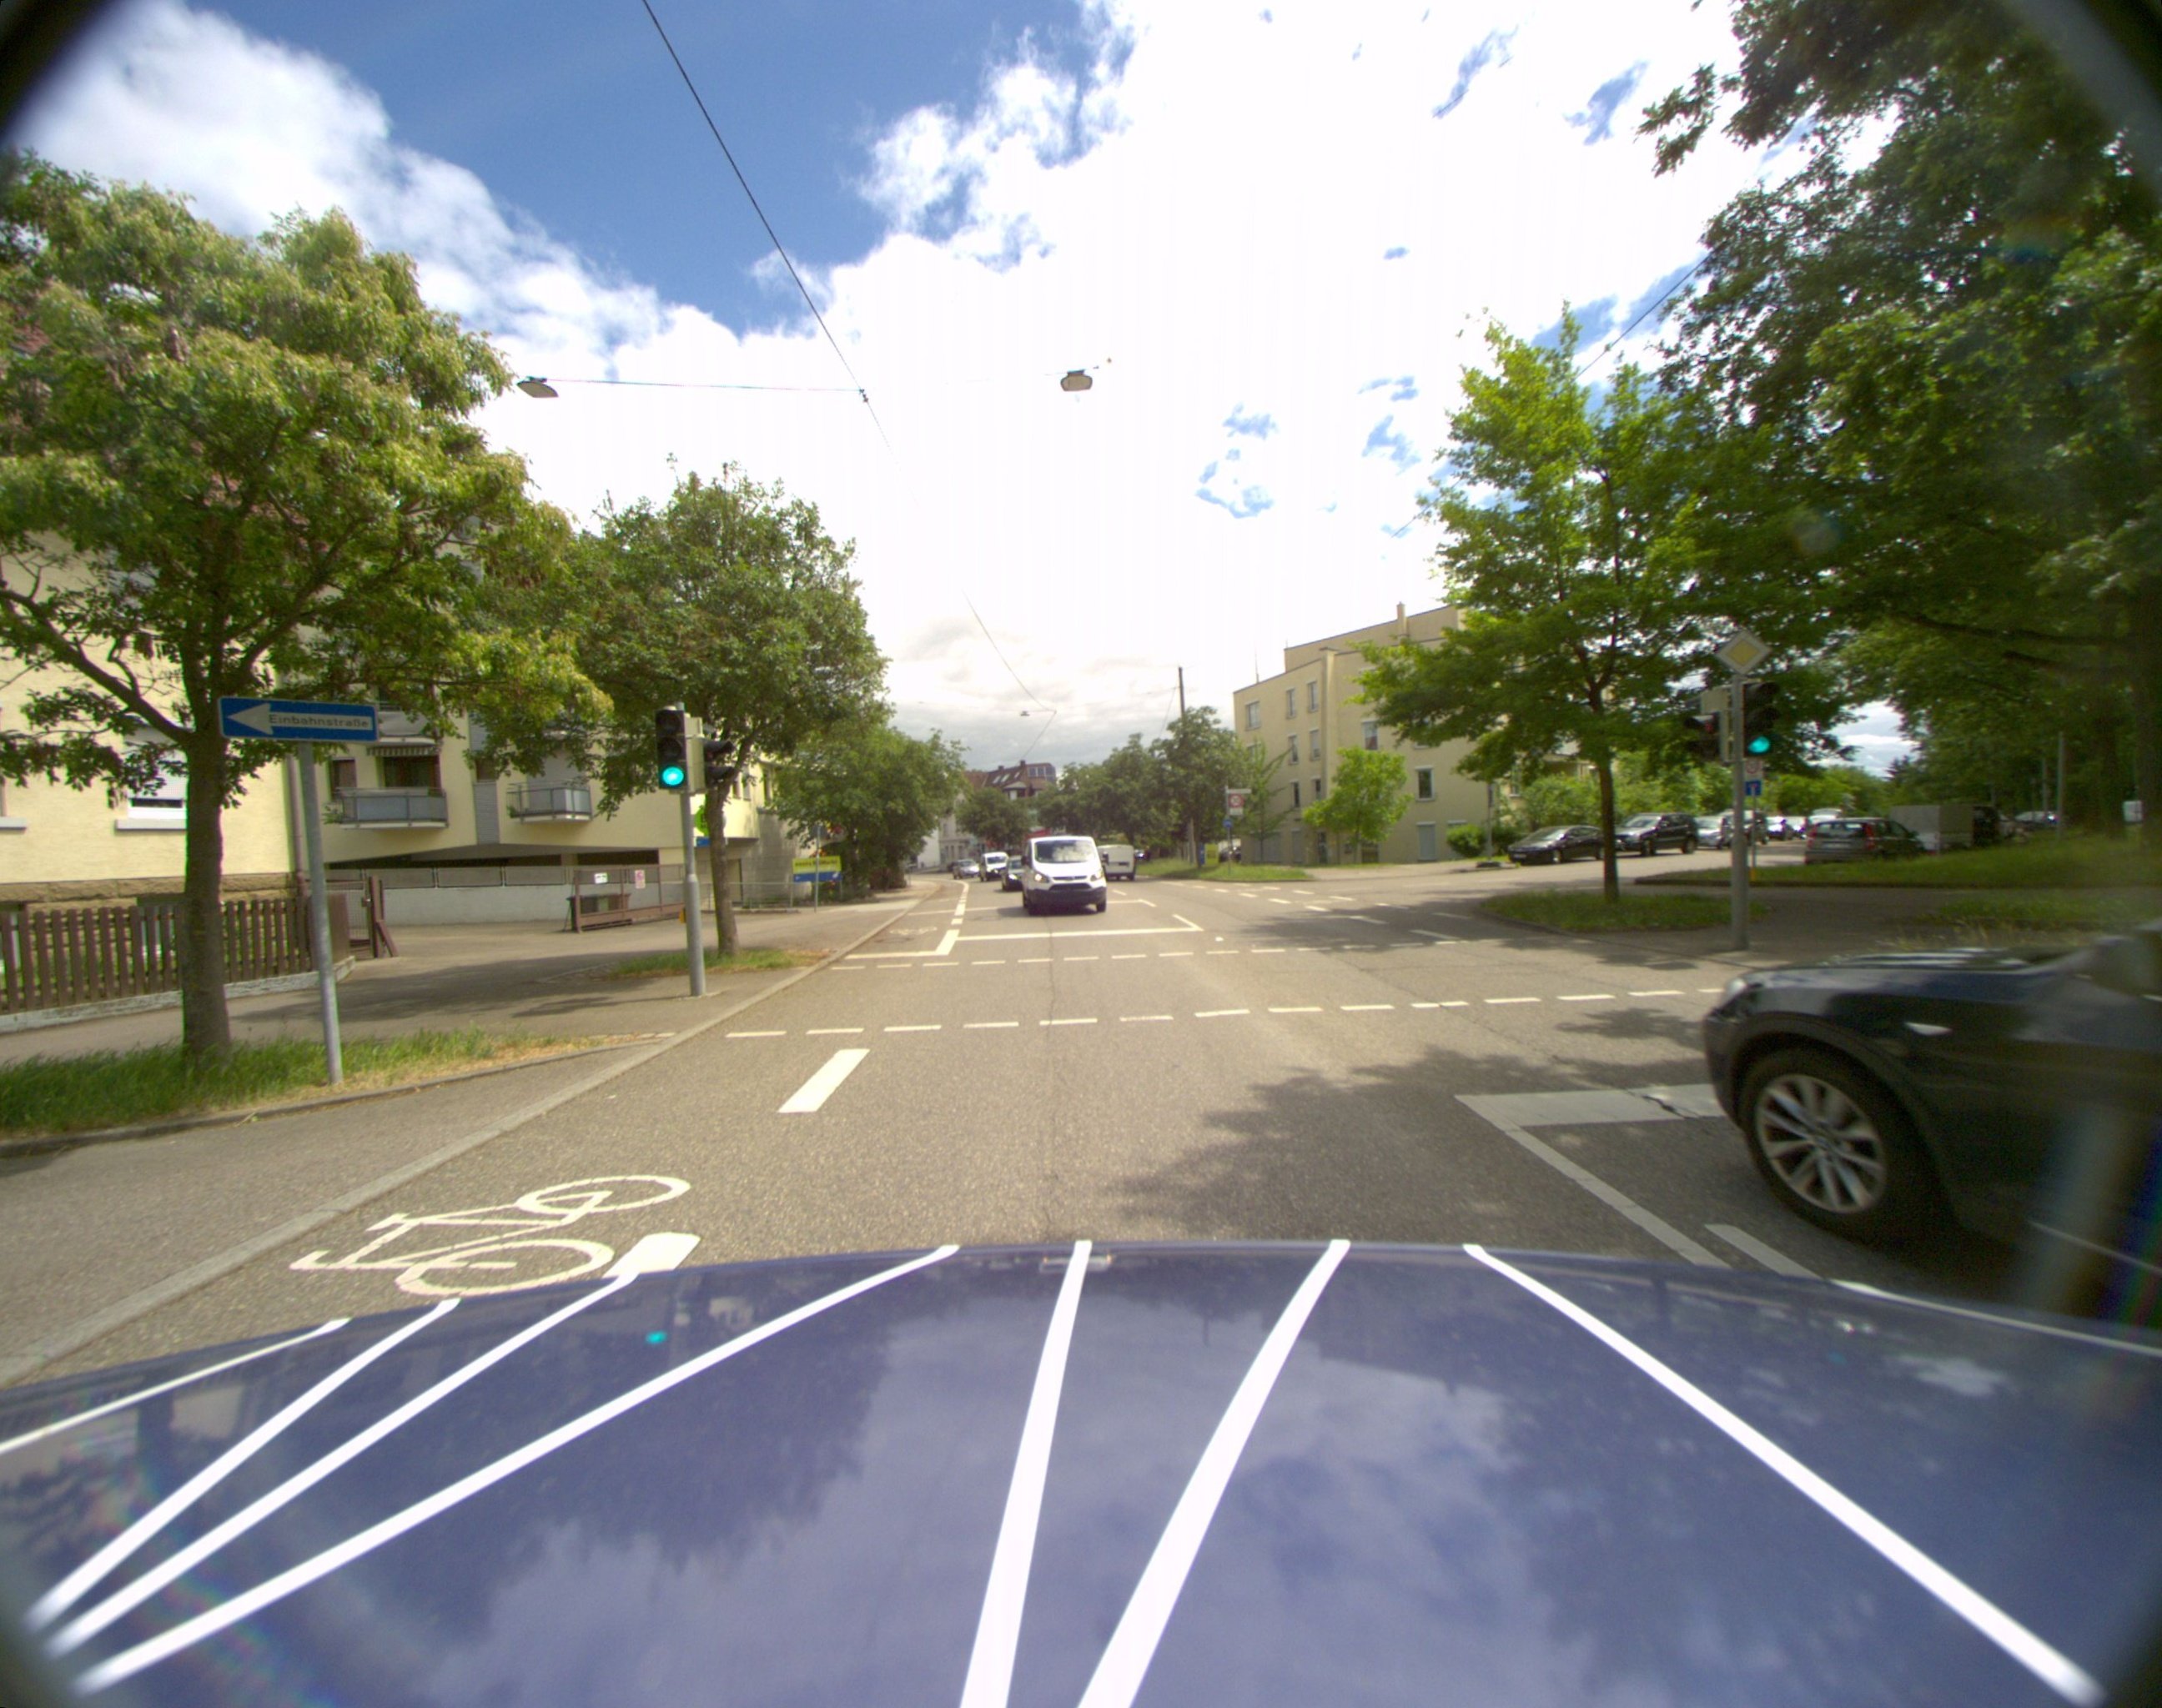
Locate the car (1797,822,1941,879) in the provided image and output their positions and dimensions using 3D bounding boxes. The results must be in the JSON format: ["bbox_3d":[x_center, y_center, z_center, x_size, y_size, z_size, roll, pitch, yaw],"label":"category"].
[{"bbox_3d":[23.407,-0.123,22.551,4.004,1.444,1.693,-3,1,-24],"label":"car"}]

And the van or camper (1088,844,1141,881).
[{"bbox_3d":[1.663,0.421,39.575,1.867,1.766,4.376,-1,0,-10],"label":"van or camper"}]

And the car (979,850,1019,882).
[{"bbox_3d":[-5.345,0.741,49.282,1.854,1.806,3.994,-6,2,-15],"label":"car"}]

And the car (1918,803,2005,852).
[{"bbox_3d":[35.433,-1.088,30.691,4.426,1.783,2.121,-3,1,-43],"label":"car"}]

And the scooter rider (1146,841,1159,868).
[{"bbox_3d":[5.518,0.040,58.648,0.678,2.002,0.793,-6,2,-10],"label":"scooter rider"}]

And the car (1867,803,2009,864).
[{"bbox_3d":[27.407,-0.634,24.309,4.004,1.833,1.842,-1,0,-23],"label":"car"}]

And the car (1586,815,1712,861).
[{"bbox_3d":[24.032,-0.703,32.147,4.796,1.594,2.097,-5,3,-23],"label":"car"}]

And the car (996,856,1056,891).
[{"bbox_3d":[-2.487,0.832,33.291,1.842,1.382,3.995,-3,0,-15],"label":"car"}]

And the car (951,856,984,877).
[{"bbox_3d":[-9.213,1.003,61.288,1.695,1.478,3.993,-6,2,-21],"label":"car"}]

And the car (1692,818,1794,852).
[{"bbox_3d":[30.161,-0.880,34.629,4.004,1.324,1.970,-3,1,-23],"label":"car"}]

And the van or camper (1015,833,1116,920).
[{"bbox_3d":[-0.582,0.542,20.898,2.028,2.002,5.099,-3,0,-9],"label":"van or camper"}]

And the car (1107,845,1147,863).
[{"bbox_3d":[5.027,-0.037,82.932,3.979,1.672,1.715,-3,2,-14],"label":"car"}]

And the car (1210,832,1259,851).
[{"bbox_3d":[12.588,-1.028,62.189,4.008,1.411,1.789,-1,-1,-40],"label":"car"}]

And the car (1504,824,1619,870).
[{"bbox_3d":[19.003,-0.295,30.048,4.156,1.390,1.734,-6,2,-23],"label":"car"}]
